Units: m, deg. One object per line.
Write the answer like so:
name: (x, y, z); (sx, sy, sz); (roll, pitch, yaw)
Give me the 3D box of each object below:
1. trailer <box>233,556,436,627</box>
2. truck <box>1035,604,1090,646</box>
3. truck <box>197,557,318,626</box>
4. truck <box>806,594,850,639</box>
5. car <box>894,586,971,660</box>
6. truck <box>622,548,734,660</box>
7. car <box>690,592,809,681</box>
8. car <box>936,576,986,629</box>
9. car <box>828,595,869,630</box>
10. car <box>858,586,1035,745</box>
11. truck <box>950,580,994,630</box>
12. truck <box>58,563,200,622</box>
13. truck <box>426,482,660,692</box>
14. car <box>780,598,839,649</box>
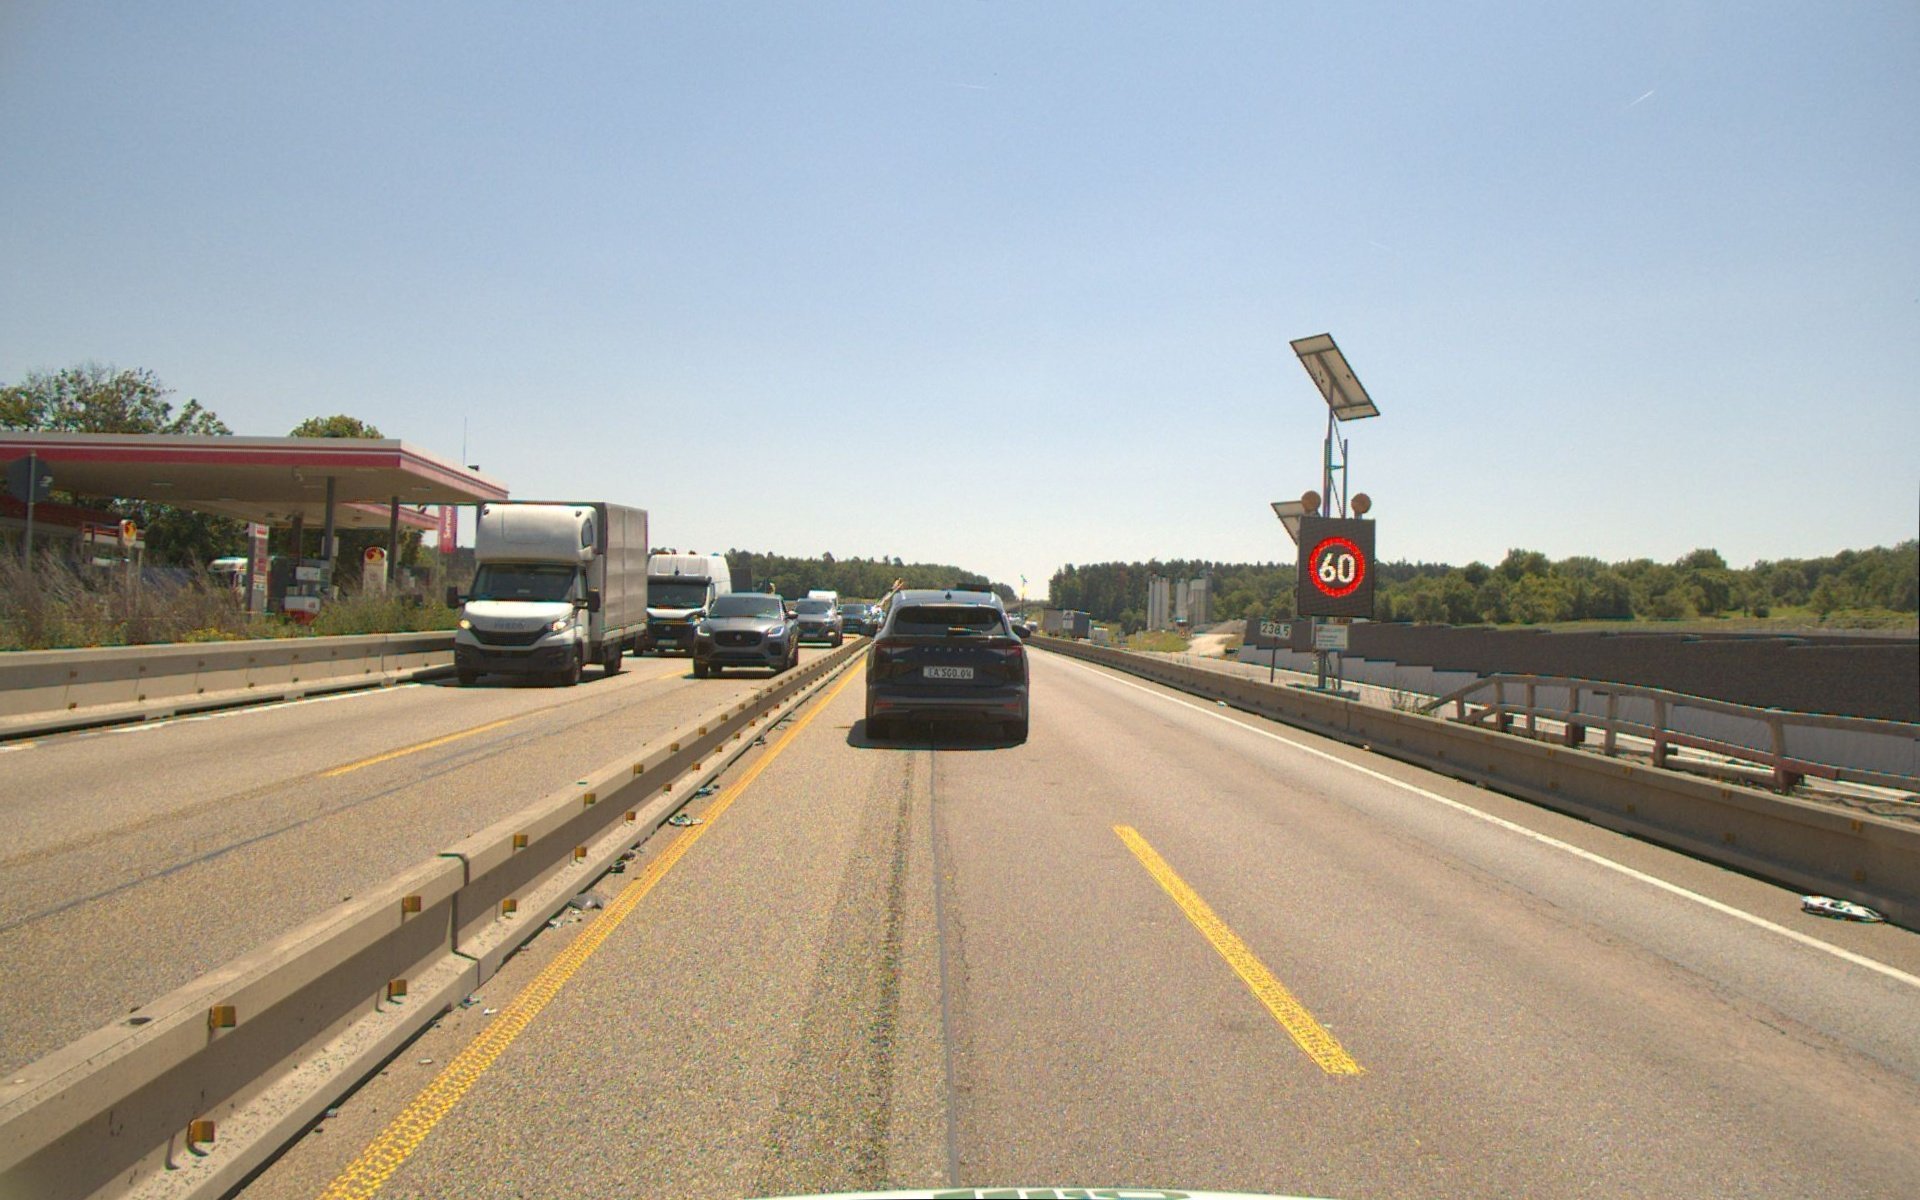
trailer: (-40.244, -0.433, 107.403); (3.088, 4.183, 14.152); (0, -1, 25)
truck: (12.343, 3.074, 197.886); (3.406, 4.292, 10.377); (7, -1, 19)
truck: (-42.988, -0.473, 101.440); (3.088, 4.055, 6.341); (0, -1, 25)
truck: (-8.867, 1.131, 111.771); (2.429, 2.874, 8.126); (1, -1, -1)
car: (-0.802, 0.653, 46.221); (1.954, 1.876, 3.998); (3, -1, -3)
truck: (-7.692, 0.096, 45.781); (2.194, 2.835, 6.489); (1, 0, -3)
car: (-4.240, 0.704, 33.973); (1.902, 1.687, 4.744); (0, 0, -1)
car: (0.151, 0.270, 145.733); (3.366, 4.171, 9.201); (6, -1, 4)
car: (-5.524, 0.612, 82.428); (1.807, 1.669, 3.999); (2, 0, -1)
car: (-0.154, 0.670, 19.140); (1.805, 1.609, 3.999); (1, 0, -1)
truck: (0.736, 0.309, 105.494); (2.618, 2.997, 5.619); (1, 0, -1)
truck: (-46.492, -0.381, 92.793); (2.761, 3.117, 7.122); (0, -1, 20)
truck: (-7.490, -0.213, 30.884); (2.445, 3.349, 8.114); (1, 0, -2)
car: (-5.178, 0.793, 57.223); (1.901, 1.639, 3.996); (1, 0, -5)
